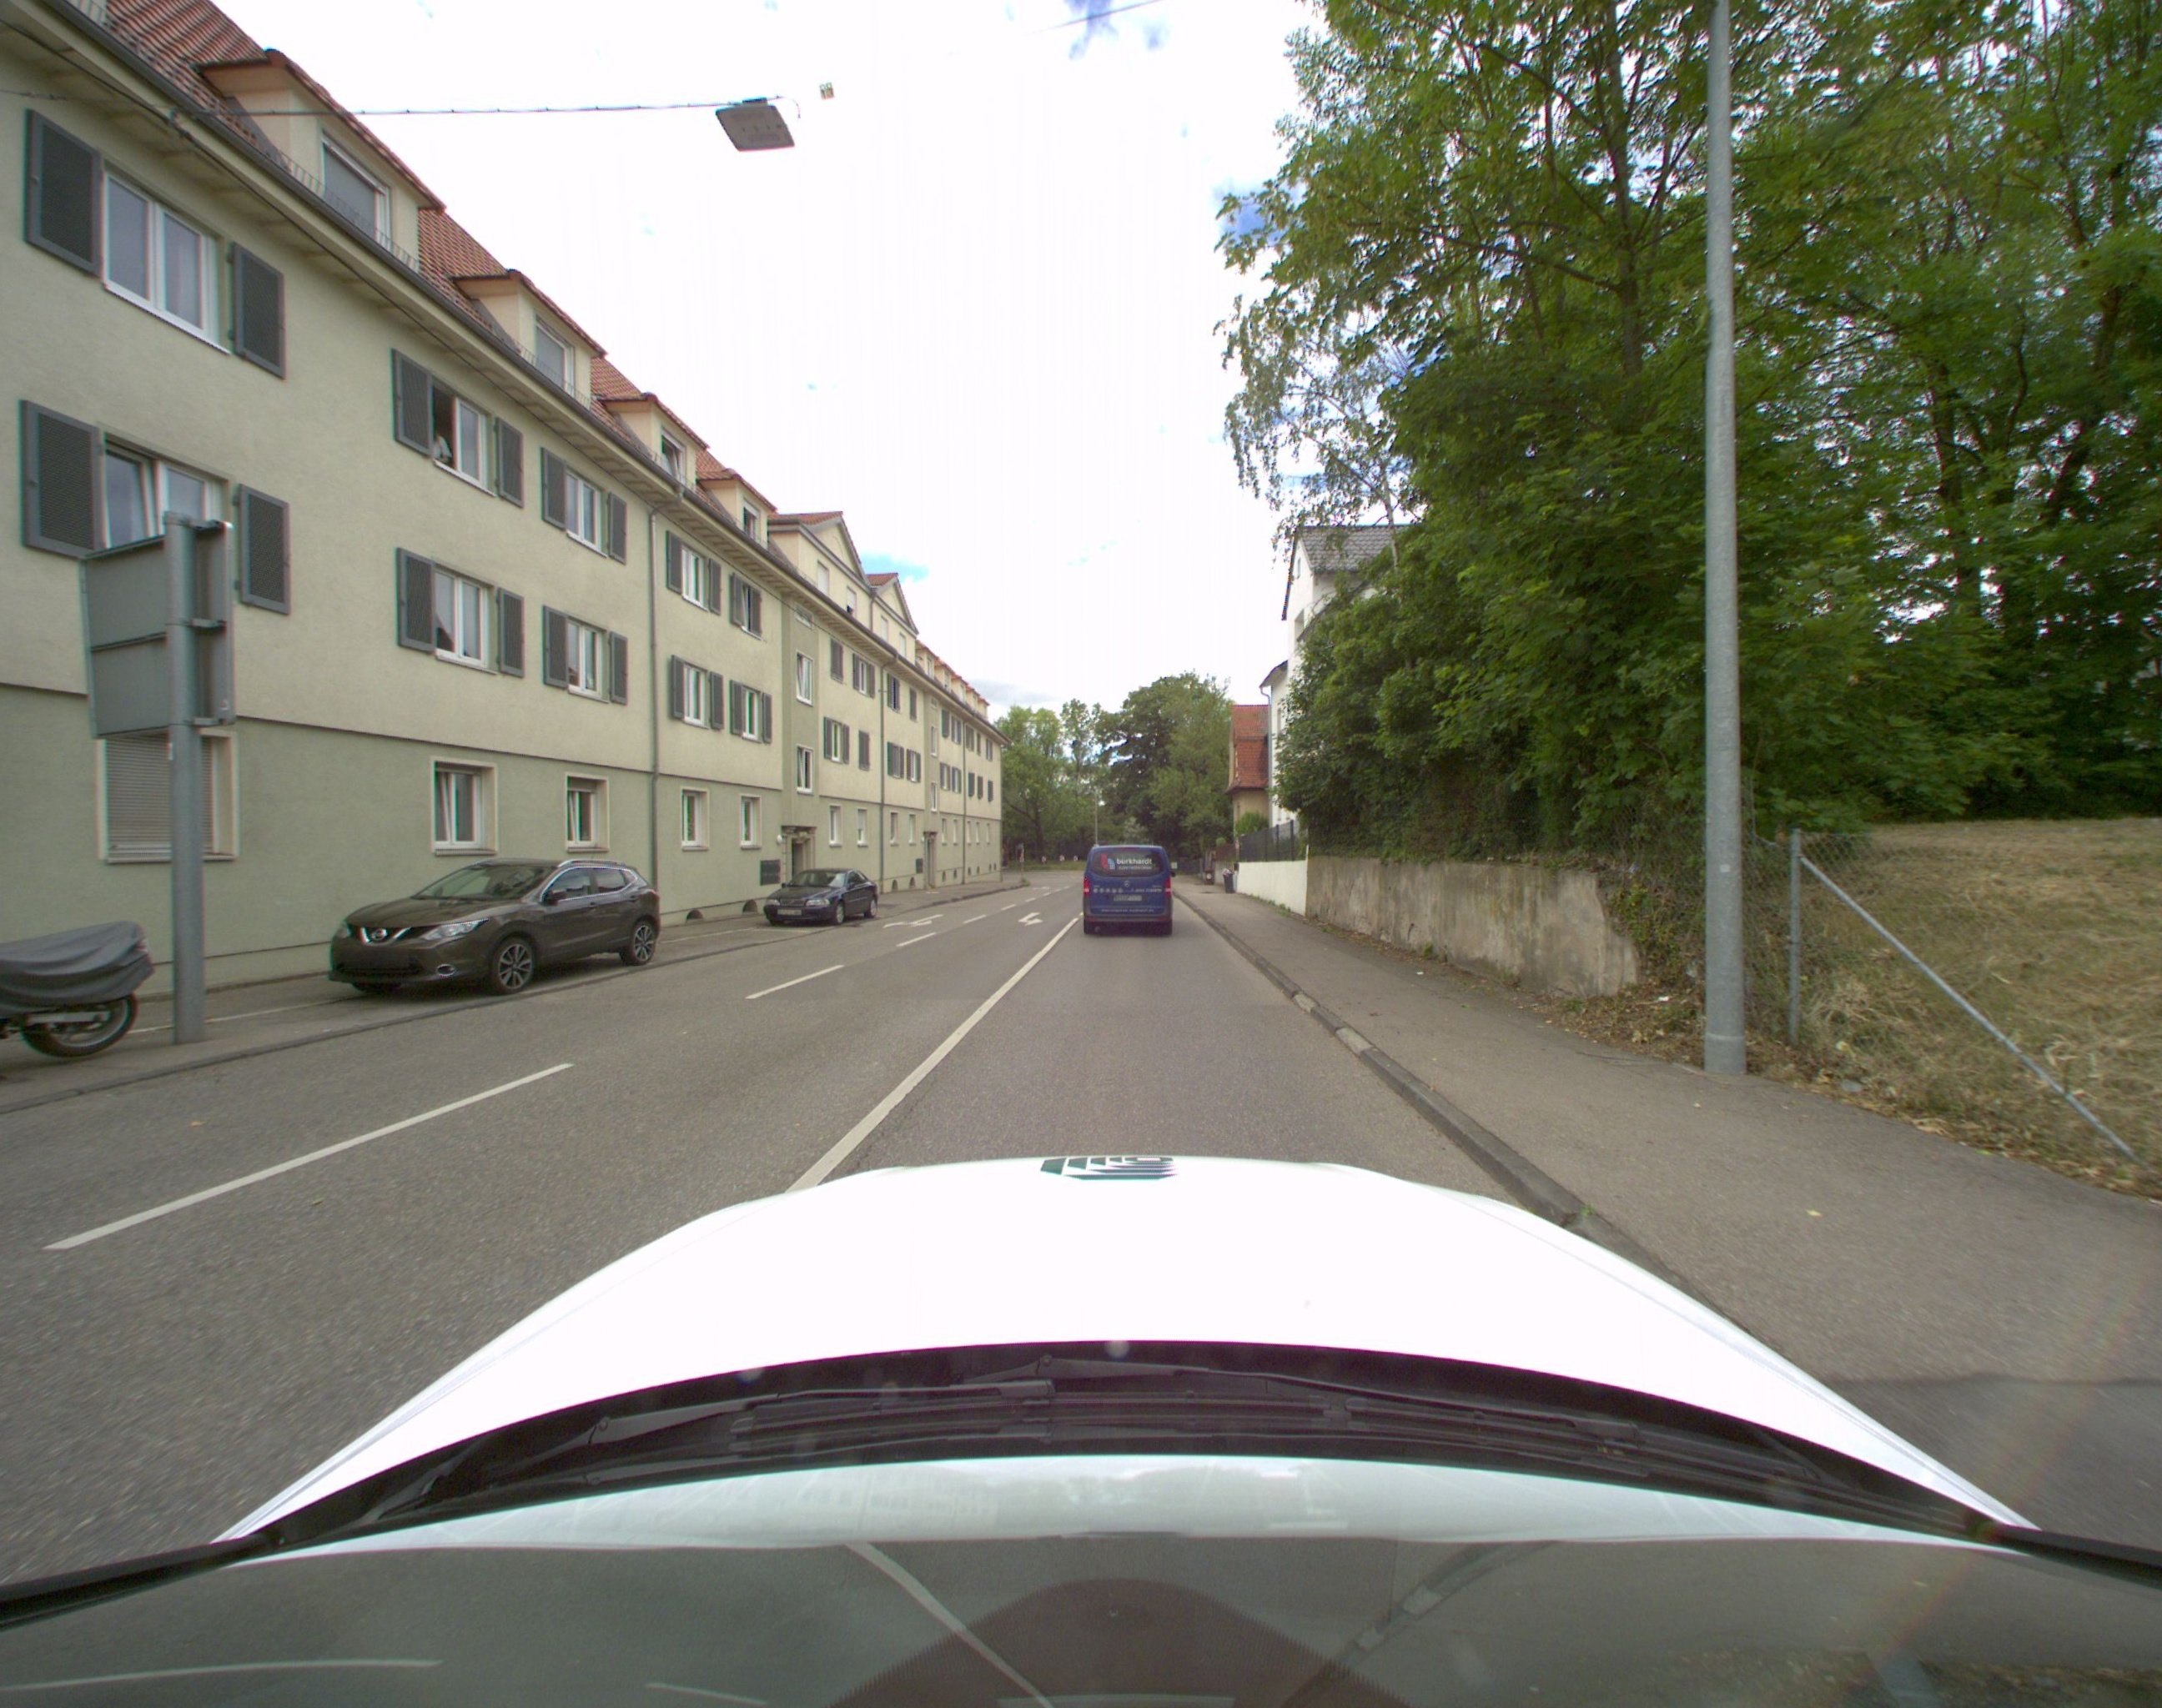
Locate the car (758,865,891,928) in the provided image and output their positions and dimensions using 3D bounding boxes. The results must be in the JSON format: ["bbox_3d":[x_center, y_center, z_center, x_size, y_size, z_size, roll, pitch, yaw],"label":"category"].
[{"bbox_3d":[-6.632,1.035,21.679,1.703,1.403,4.850,1,0,3],"label":"car"}]

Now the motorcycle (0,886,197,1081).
[{"bbox_3d":[-7.769,0.916,5.707,0.623,1.290,2.231,1,0,2],"label":"motorcycle"}]

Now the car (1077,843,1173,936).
[{"bbox_3d":[0.936,0.716,18.393,1.906,1.837,4.295,0,0,2],"label":"car"}]

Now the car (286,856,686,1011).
[{"bbox_3d":[-7.492,0.853,11.038,1.814,1.633,4.699,0,0,2],"label":"car"}]

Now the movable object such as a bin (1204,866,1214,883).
[{"bbox_3d":[7.234,1.171,45.968,0.459,0.924,0.566,-4,-1,3],"label":"movable object such as a bin"}]

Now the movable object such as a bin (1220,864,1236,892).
[{"bbox_3d":[6.445,1.044,35.638,0.525,1.178,0.635,-4,-1,3],"label":"movable object such as a bin"}]
